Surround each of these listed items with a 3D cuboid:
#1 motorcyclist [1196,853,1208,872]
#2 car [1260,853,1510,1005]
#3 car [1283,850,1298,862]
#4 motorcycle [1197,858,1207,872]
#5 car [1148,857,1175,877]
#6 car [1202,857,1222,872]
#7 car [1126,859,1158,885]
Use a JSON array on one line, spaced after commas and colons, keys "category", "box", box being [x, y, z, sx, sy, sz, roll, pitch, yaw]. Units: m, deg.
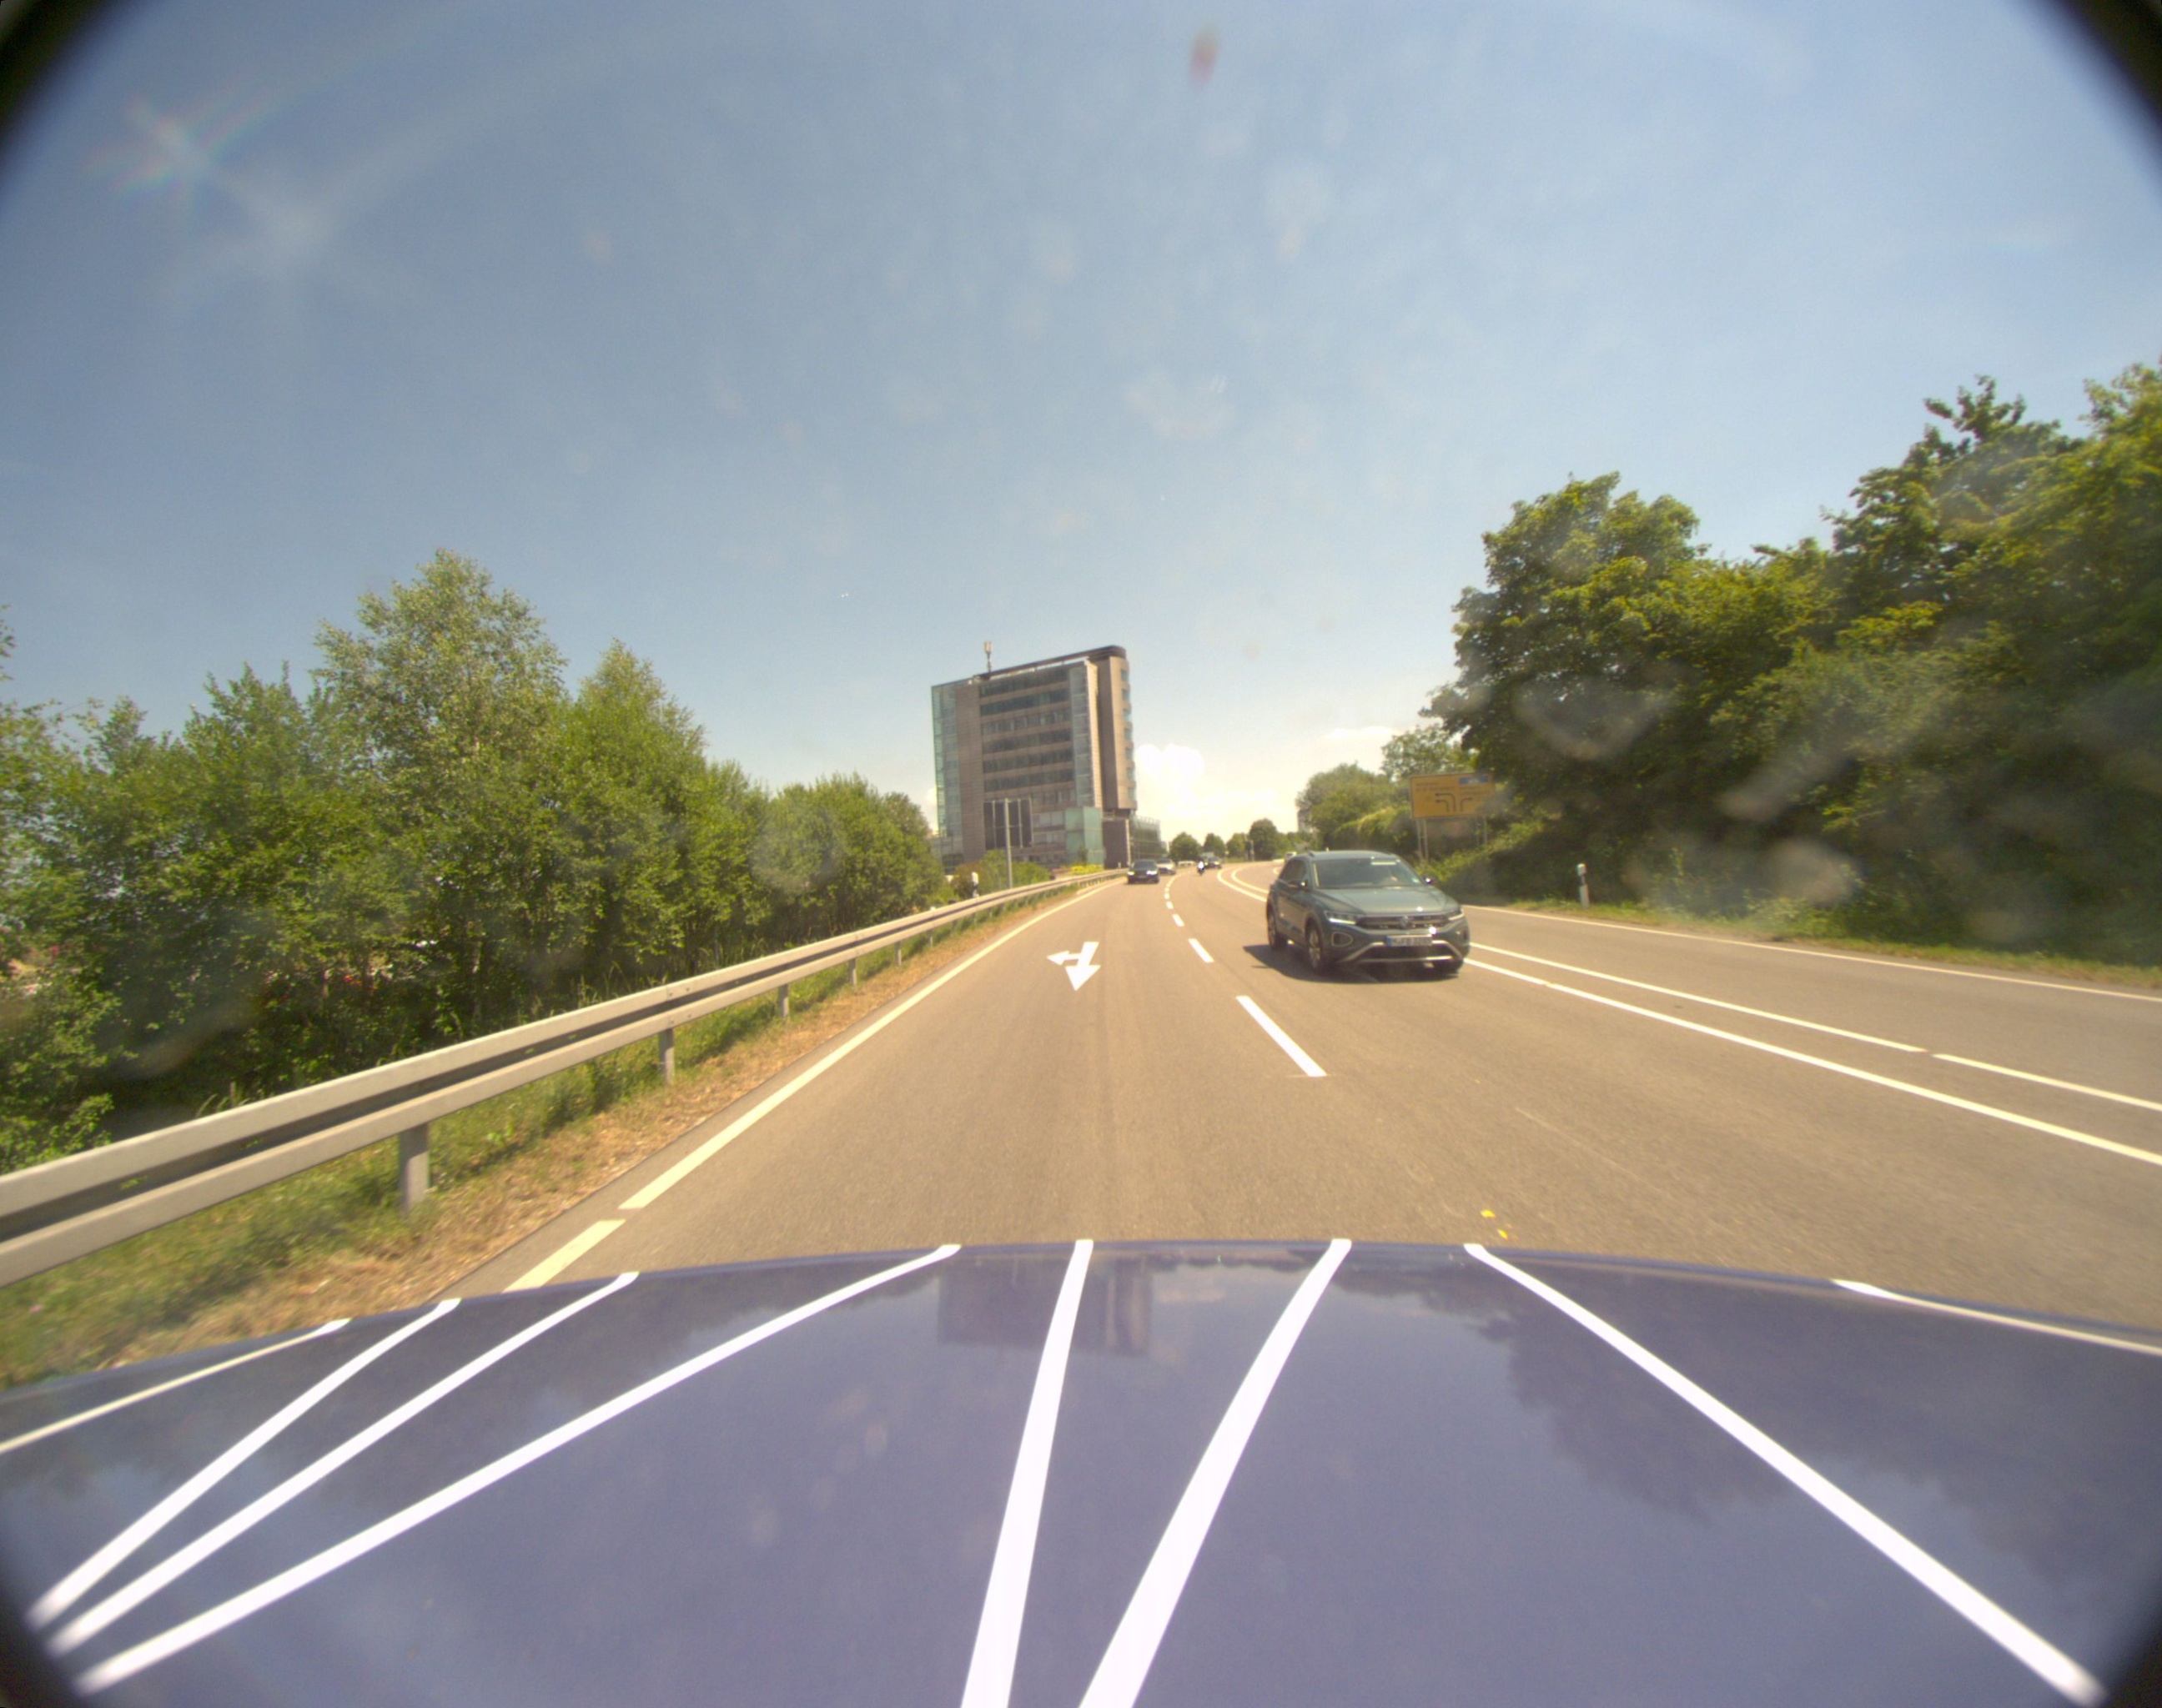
[{"category": "motorcyclist", "box": [9.611, 0.677, 60.409, 0.860, 1.479, 1.163, -1, 0, 10]}, {"category": "car", "box": [3.763, 0.820, 10.338, 1.839, 1.577, 4.392, -2, 0, 4]}, {"category": "car", "box": [30.173, 0.312, 109.648, 1.996, 1.619, 4.201, -2, 0, 16]}, {"category": "motorcycle", "box": [9.613, 0.888, 60.485, 0.733, 1.131, 2.074, -1, -1, 11]}, {"category": "car", "box": [7.106, 1.190, 67.035, 1.932, 1.576, 4.184, -5, -3, 11]}, {"category": "car", "box": [15.505, 1.186, 89.819, 2.116, 1.581, 4.454, -2, 0, 11]}, {"category": "car", "box": [3.770, 1.076, 46.335, 1.779, 1.497, 4.564, -2, -1, 7]}]
